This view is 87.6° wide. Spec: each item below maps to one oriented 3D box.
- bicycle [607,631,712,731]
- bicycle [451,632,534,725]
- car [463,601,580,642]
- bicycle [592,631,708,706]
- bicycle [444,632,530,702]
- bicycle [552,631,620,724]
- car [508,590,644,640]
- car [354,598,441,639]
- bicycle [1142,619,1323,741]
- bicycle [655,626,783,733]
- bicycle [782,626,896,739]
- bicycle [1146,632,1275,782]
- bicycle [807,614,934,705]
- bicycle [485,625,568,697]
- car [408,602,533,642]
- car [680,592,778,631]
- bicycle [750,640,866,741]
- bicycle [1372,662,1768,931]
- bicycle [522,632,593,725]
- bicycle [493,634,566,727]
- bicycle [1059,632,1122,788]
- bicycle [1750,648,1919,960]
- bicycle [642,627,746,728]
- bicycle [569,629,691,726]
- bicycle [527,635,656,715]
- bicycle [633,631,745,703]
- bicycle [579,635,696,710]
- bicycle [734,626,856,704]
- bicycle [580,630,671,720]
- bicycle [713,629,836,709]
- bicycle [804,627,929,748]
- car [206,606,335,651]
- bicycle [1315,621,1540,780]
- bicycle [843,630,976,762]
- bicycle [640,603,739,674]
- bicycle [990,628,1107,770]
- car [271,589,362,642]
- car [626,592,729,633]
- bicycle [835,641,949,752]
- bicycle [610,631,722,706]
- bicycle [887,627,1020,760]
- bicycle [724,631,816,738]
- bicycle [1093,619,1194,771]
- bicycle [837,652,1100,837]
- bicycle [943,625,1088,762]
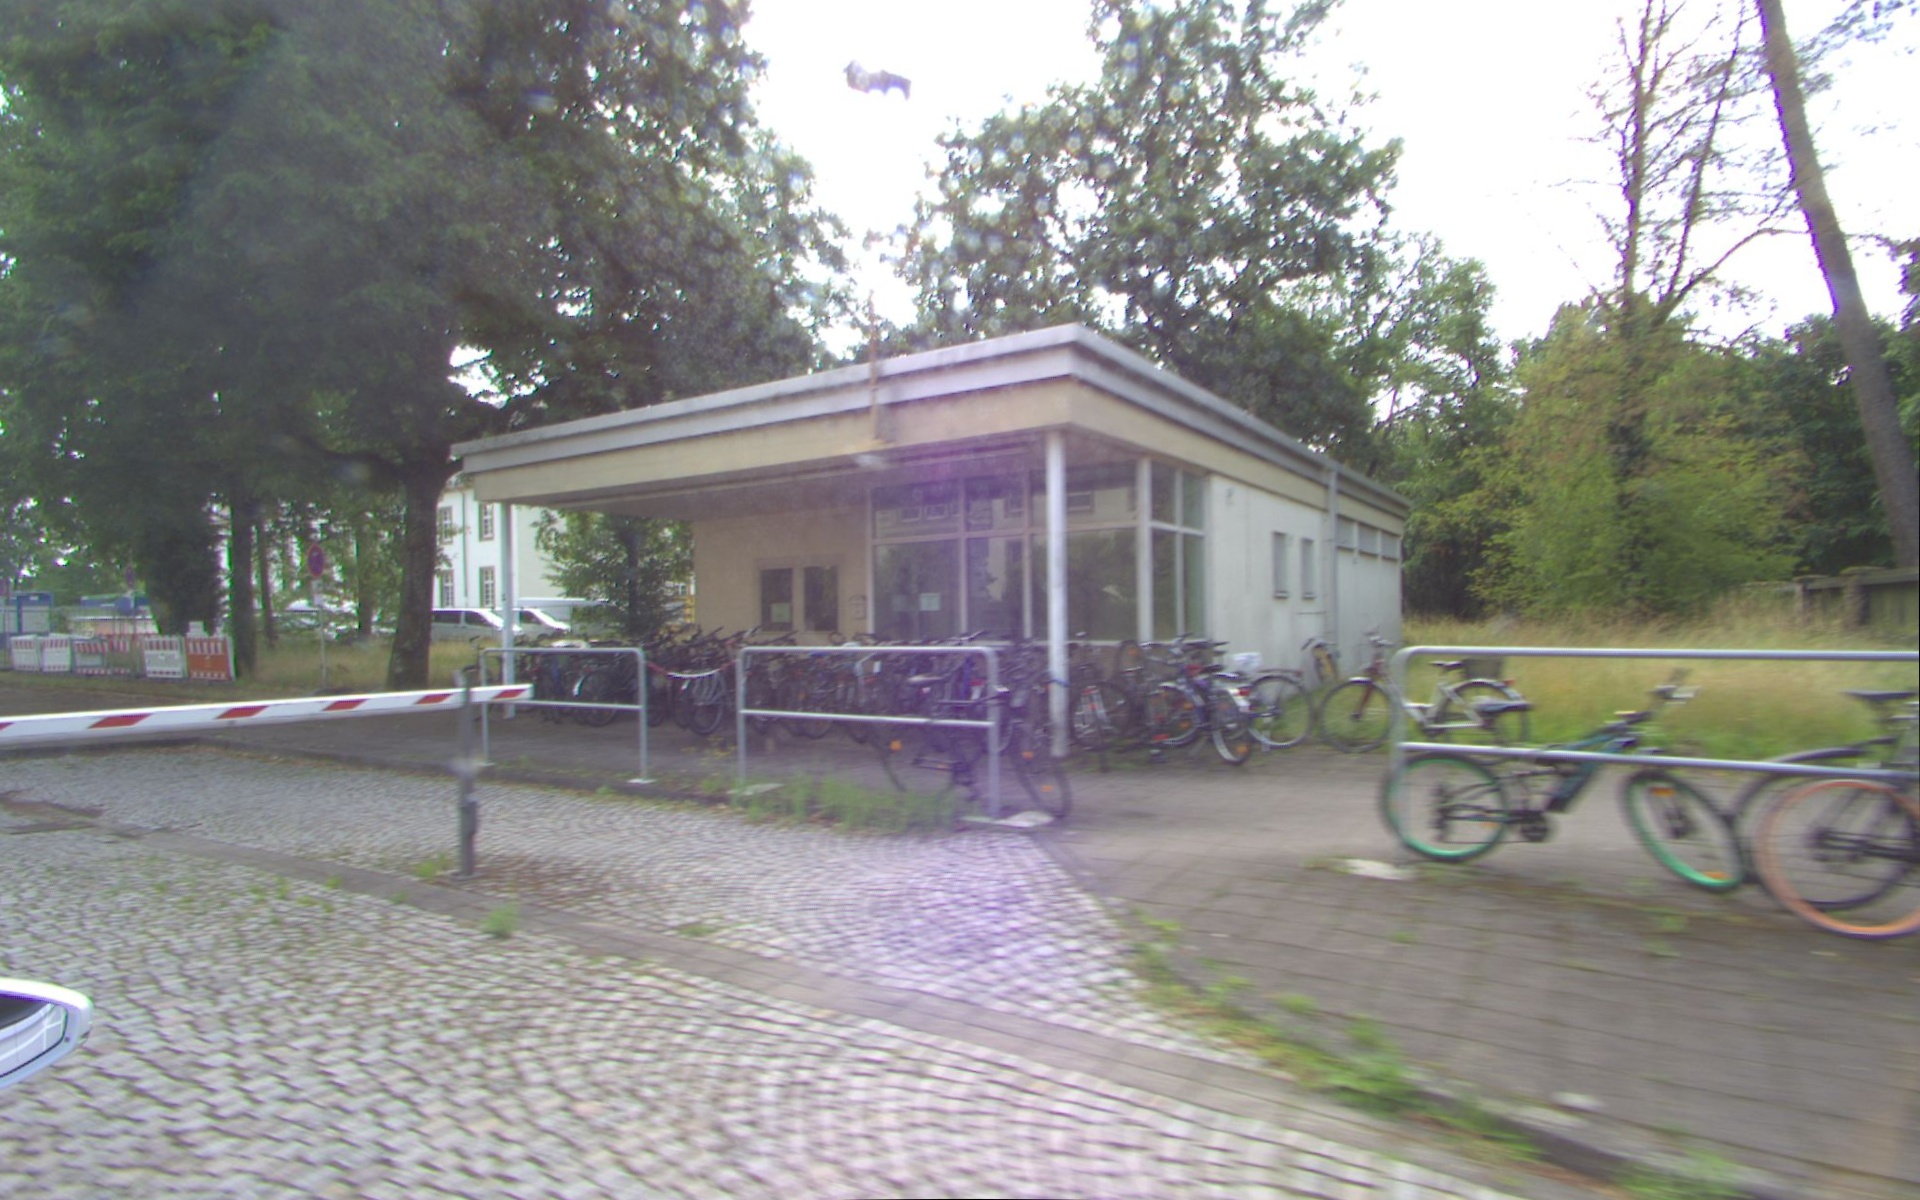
[{"bbox_3d":[-3.919,1.031,13.204,0.488,1.186,1.749,-3,-1,12],"label":"bicycle"},{"bbox_3d":[-6.439,1.049,13.846,0.425,1.186,1.383,-3,-1,1],"label":"bicycle"},{"bbox_3d":[-20.959,1.029,47.994,4.746,1.812,2.000,-1,-1,5],"label":"car"},{"bbox_3d":[-4.804,1.068,15.487,1.867,1.095,0.371,-3,0,22],"label":"bicycle"},{"bbox_3d":[-8.048,1.117,17.023,1.561,1.101,0.503,0,1,29],"label":"bicycle"},{"bbox_3d":[-5.093,1.032,13.693,0.352,1.186,1.383,-3,-1,0],"label":"bicycle"},{"bbox_3d":[-19.364,0.749,50.667,6.079,2.338,2.000,-1,-1,2],"label":"car"},{"bbox_3d":[-29.648,0.981,52.725,4.771,2.040,1.989,-1,0,32],"label":"car"},{"bbox_3d":[2.596,0.768,9.618,1.573,1.097,0.434,-3,-1,31],"label":"bicycle"},{"bbox_3d":[-2.907,0.935,12.282,0.574,1.186,1.802,-3,-1,21],"label":"bicycle"},{"bbox_3d":[-1.373,0.923,11.772,0.394,1.186,1.980,-3,-1,21],"label":"bicycle"},{"bbox_3d":[2.212,0.902,9.037,0.428,1.134,1.651,-2,2,-12],"label":"bicycle"},{"bbox_3d":[-1.207,0.796,13.847,0.441,1.133,1.880,-2,-1,45],"label":"bicycle"},{"bbox_3d":[-7.553,1.070,17.431,1.533,1.186,0.503,-3,-1,32],"label":"bicycle"},{"bbox_3d":[-22.185,1.016,45.472,4.746,1.671,2.000,-1,-1,5],"label":"car"},{"bbox_3d":[-13.596,0.702,58.905,5.618,1.982,2.435,-4,-1,35],"label":"car"},{"bbox_3d":[-1.762,1.030,11.933,0.394,1.042,1.980,-3,-1,21],"label":"bicycle"},{"bbox_3d":[2.955,0.880,4.976,1.572,1.071,0.728,-1,0,33],"label":"bicycle"},{"bbox_3d":[-5.485,1.040,13.714,0.352,1.186,1.383,-3,-1,0],"label":"bicycle"},{"bbox_3d":[-5.882,1.073,13.751,0.352,1.186,1.383,-3,-1,0],"label":"bicycle"},{"bbox_3d":[1.127,0.911,8.855,0.428,1.186,1.652,-3,0,5],"label":"bicycle"},{"bbox_3d":[4.201,0.815,3.911,1.691,1.186,0.500,0,1,33],"label":"bicycle"},{"bbox_3d":[-3.420,0.972,13.043,0.488,1.186,1.805,-3,-1,12],"label":"bicycle"},{"bbox_3d":[-4.410,1.012,13.518,0.353,1.186,1.799,-3,-1,26],"label":"bicycle"},{"bbox_3d":[-5.416,1.103,14.748,1.764,1.133,0.446,-1,0,7],"label":"bicycle"},{"bbox_3d":[-4.373,1.087,16.136,1.866,1.097,0.371,-3,0,22],"label":"bicycle"},{"bbox_3d":[-4.883,1.075,15.129,1.880,1.081,0.371,-1,0,22],"label":"bicycle"},{"bbox_3d":[-2.523,0.997,15.243,1.866,1.133,0.371,-3,0,22],"label":"bicycle"},{"bbox_3d":[-4.634,1.027,13.942,0.353,1.185,1.379,-3,-3,24],"label":"bicycle"},{"bbox_3d":[-2.752,1.008,14.761,1.866,1.133,0.371,-1,0,22],"label":"bicycle"},{"bbox_3d":[-0.990,0.925,11.180,0.395,1.186,2.016,-2,-1,25],"label":"bicycle"},{"bbox_3d":[-30.015,1.205,43.681,1.973,1.844,4.209,-2,-1,34],"label":"car"},{"bbox_3d":[3.961,0.804,8.603,0.432,1.187,1.707,-2,2,-44],"label":"bicycle"},{"bbox_3d":[-0.467,0.939,10.417,0.386,1.186,2.070,-3,-1,26],"label":"bicycle"},{"bbox_3d":[-4.538,0.657,16.763,1.871,1.143,0.370,-3,-1,31],"label":"bicycle"},{"bbox_3d":[0.831,0.859,9.121,0.430,1.185,1.388,-3,-2,33],"label":"bicycle"},{"bbox_3d":[-31.522,0.788,49.009,5.288,2.455,1.987,-2,-1,36],"label":"car"},{"bbox_3d":[-15.733,0.721,55.683,5.618,1.982,2.435,-4,-1,35],"label":"car"},{"bbox_3d":[-0.692,0.998,10.779,0.348,1.044,1.769,-3,-1,26],"label":"bicycle"},{"bbox_3d":[-4.661,1.072,15.833,1.866,1.133,0.371,-1,0,22],"label":"bicycle"},{"bbox_3d":[-0.016,0.905,10.252,0.478,1.186,1.948,-3,-1,27],"label":"bicycle"},{"bbox_3d":[-2.285,0.993,12.229,0.394,1.174,1.704,-3,-1,13],"label":"bicycle"},{"bbox_3d":[1.622,0.801,9.086,0.428,1.186,1.652,-3,1,-5],"label":"bicycle"},{"bbox_3d":[0.039,0.930,6.928,1.690,1.087,0.728,-1,0,33],"label":"bicycle"},{"bbox_3d":[0.609,0.875,9.999,0.479,1.186,2.067,-3,-1,31],"label":"bicycle"}]
